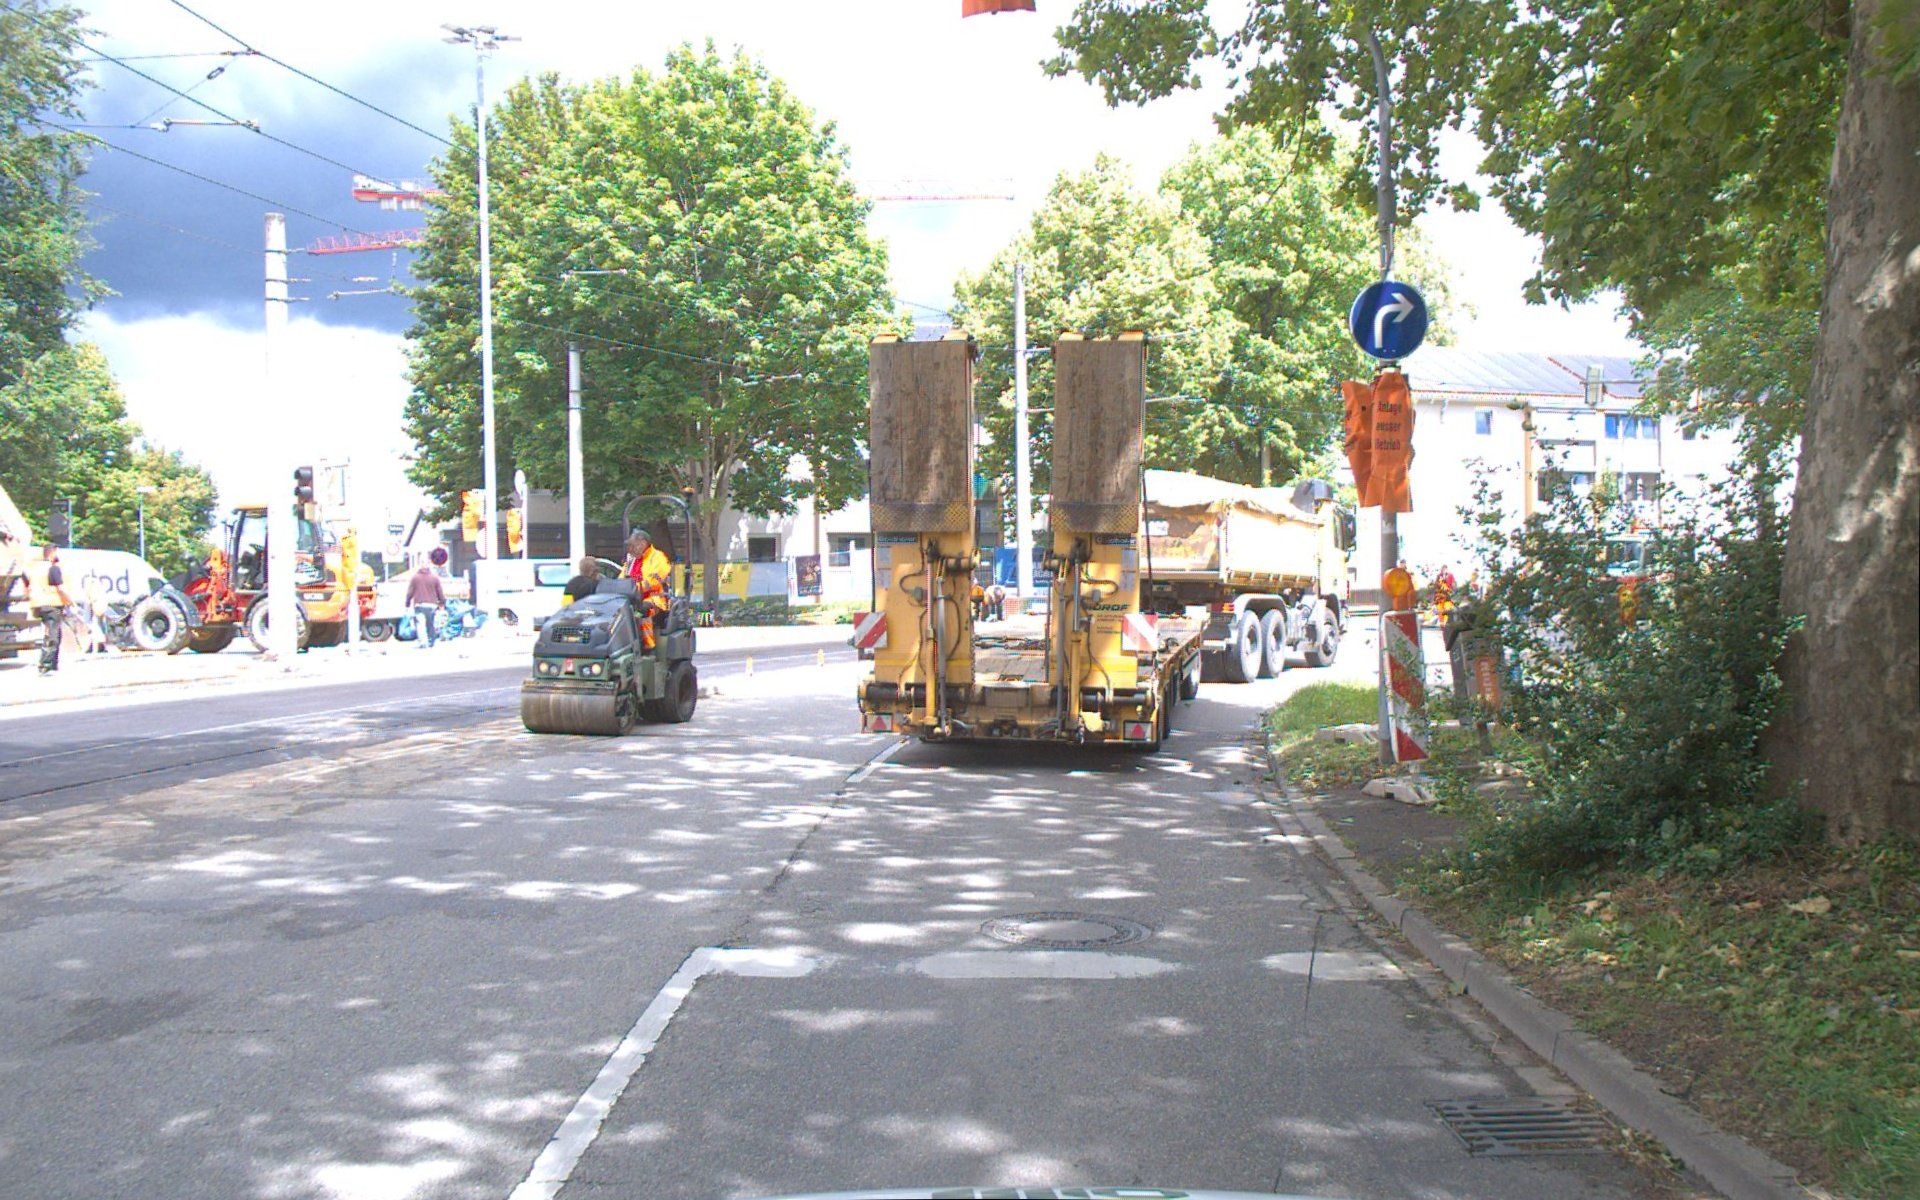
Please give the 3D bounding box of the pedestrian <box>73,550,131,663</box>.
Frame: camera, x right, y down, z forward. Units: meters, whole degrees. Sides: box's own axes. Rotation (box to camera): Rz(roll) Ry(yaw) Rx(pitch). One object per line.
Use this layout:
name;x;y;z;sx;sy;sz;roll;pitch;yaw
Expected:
pedestrian;-14.065;0.094;27.124;0.568;1.819;0.613;-1;2;2

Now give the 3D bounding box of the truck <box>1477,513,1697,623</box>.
truck;18.084;-0.970;47.596;6.315;2.772;2.642;-4;3;-32

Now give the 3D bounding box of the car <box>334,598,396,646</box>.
car;-19.772;0.708;55.113;1.744;1.484;3.857;-1;0;-17

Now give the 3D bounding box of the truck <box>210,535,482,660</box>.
truck;-14.565;-0.068;39.460;5.448;2.613;2.421;-3;0;4

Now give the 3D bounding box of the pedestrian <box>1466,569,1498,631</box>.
pedestrian;13.627;-0.003;43.164;0.747;1.578;0.901;0;2;21

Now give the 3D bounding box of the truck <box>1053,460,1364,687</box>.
truck;4.403;-0.470;27.553;2.861;3.222;7.672;1;1;27

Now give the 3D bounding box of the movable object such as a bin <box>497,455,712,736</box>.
movable object such as a bin;-3.560;-0.067;16.863;1.288;2.639;2.365;0;1;12

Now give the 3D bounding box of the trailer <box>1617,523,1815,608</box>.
trailer;23.344;-1.102;50.986;6.169;2.252;2.642;-4;3;-32

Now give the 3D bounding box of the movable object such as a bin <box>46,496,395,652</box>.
movable object such as a bin;-13.394;-0.460;30.152;5.452;2.715;2.117;0;0;4

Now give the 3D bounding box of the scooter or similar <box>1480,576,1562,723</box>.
scooter or similar;5.010;0.421;14.816;0.552;1.254;1.196;-1;1;13

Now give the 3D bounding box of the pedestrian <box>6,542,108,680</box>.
pedestrian;-12.514;0.137;22.931;0.777;1.864;0.972;0;0;19

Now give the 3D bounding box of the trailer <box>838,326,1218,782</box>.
trailer;1.363;-0.510;18.717;2.762;3.585;11.062;2;1;10

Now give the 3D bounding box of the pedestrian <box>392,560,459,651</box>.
pedestrian;-10.132;0.100;31.374;0.906;1.688;0.875;-1;1;5

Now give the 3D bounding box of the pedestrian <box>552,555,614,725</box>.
pedestrian;-3.887;0.400;17.077;0.459;1.711;0.559;1;1;2

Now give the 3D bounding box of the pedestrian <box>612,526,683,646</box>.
pedestrian;-3.292;-0.148;17.452;0.537;1.238;0.618;-1;1;10

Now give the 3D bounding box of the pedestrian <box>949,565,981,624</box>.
pedestrian;0.136;-0.156;44.272;0.745;1.568;0.797;-1;1;-7

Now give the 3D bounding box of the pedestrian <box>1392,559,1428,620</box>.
pedestrian;12.625;-0.290;46.398;0.693;1.697;0.824;1;-1;39

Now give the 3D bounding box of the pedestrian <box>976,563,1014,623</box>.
pedestrian;0.934;-0.192;44.580;0.888;1.559;0.840;-1;1;-7

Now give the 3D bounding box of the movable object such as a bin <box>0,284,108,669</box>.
movable object such as a bin;-17.734;-1.719;26.235;8.832;5.580;2.818;-1;0;27

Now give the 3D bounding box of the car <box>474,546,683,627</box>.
car;-9.893;-0.348;42.961;5.148;1.920;1.991;-1;-1;-16
